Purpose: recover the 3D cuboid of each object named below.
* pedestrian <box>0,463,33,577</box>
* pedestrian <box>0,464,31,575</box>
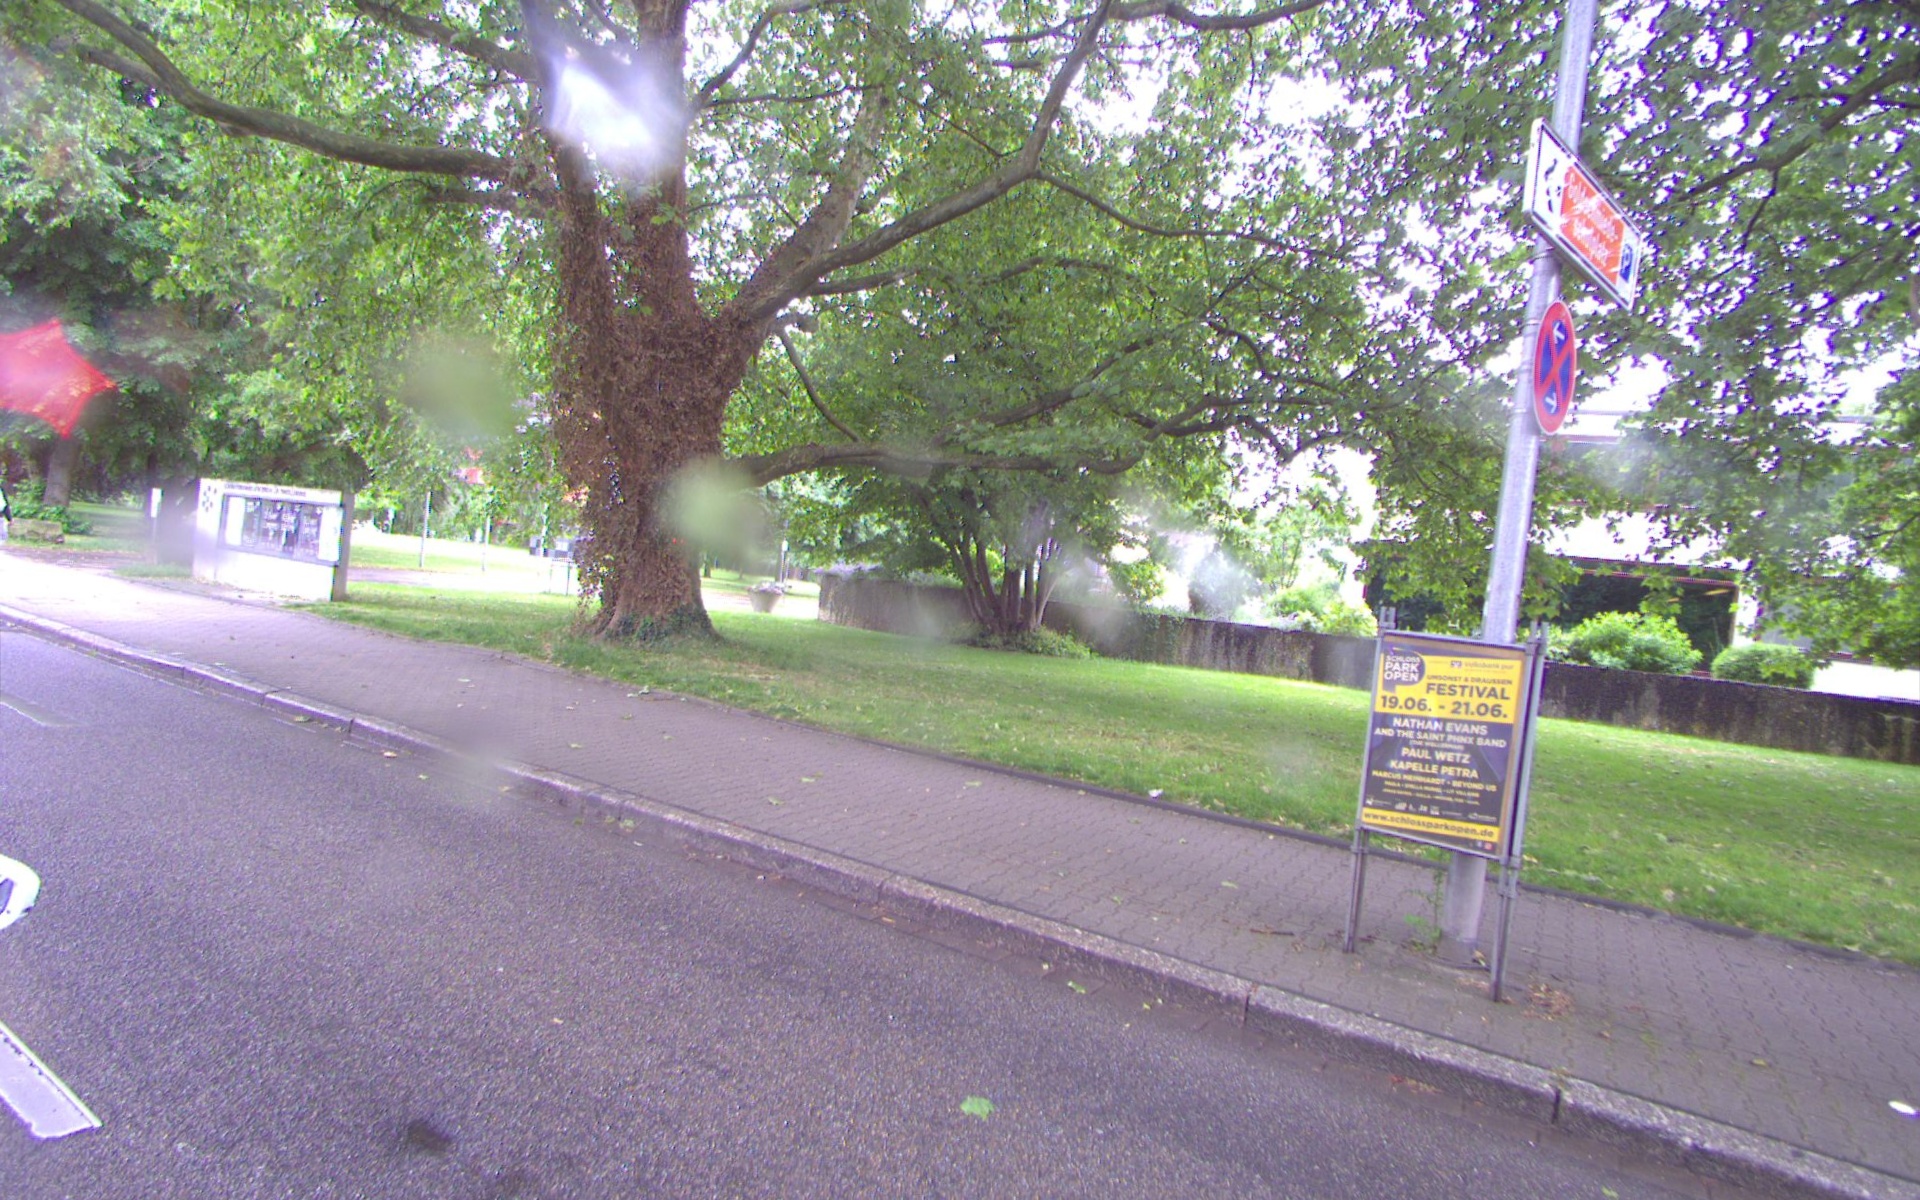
[{"bbox_3d":[-16.310,-1.366,16.772,0.646,1.902,1.037,7,4,21],"label":"pedestrian"},{"bbox_3d":[-16.841,-1.416,17.317,0.646,1.902,1.037,7,4,21],"label":"pedestrian"}]
